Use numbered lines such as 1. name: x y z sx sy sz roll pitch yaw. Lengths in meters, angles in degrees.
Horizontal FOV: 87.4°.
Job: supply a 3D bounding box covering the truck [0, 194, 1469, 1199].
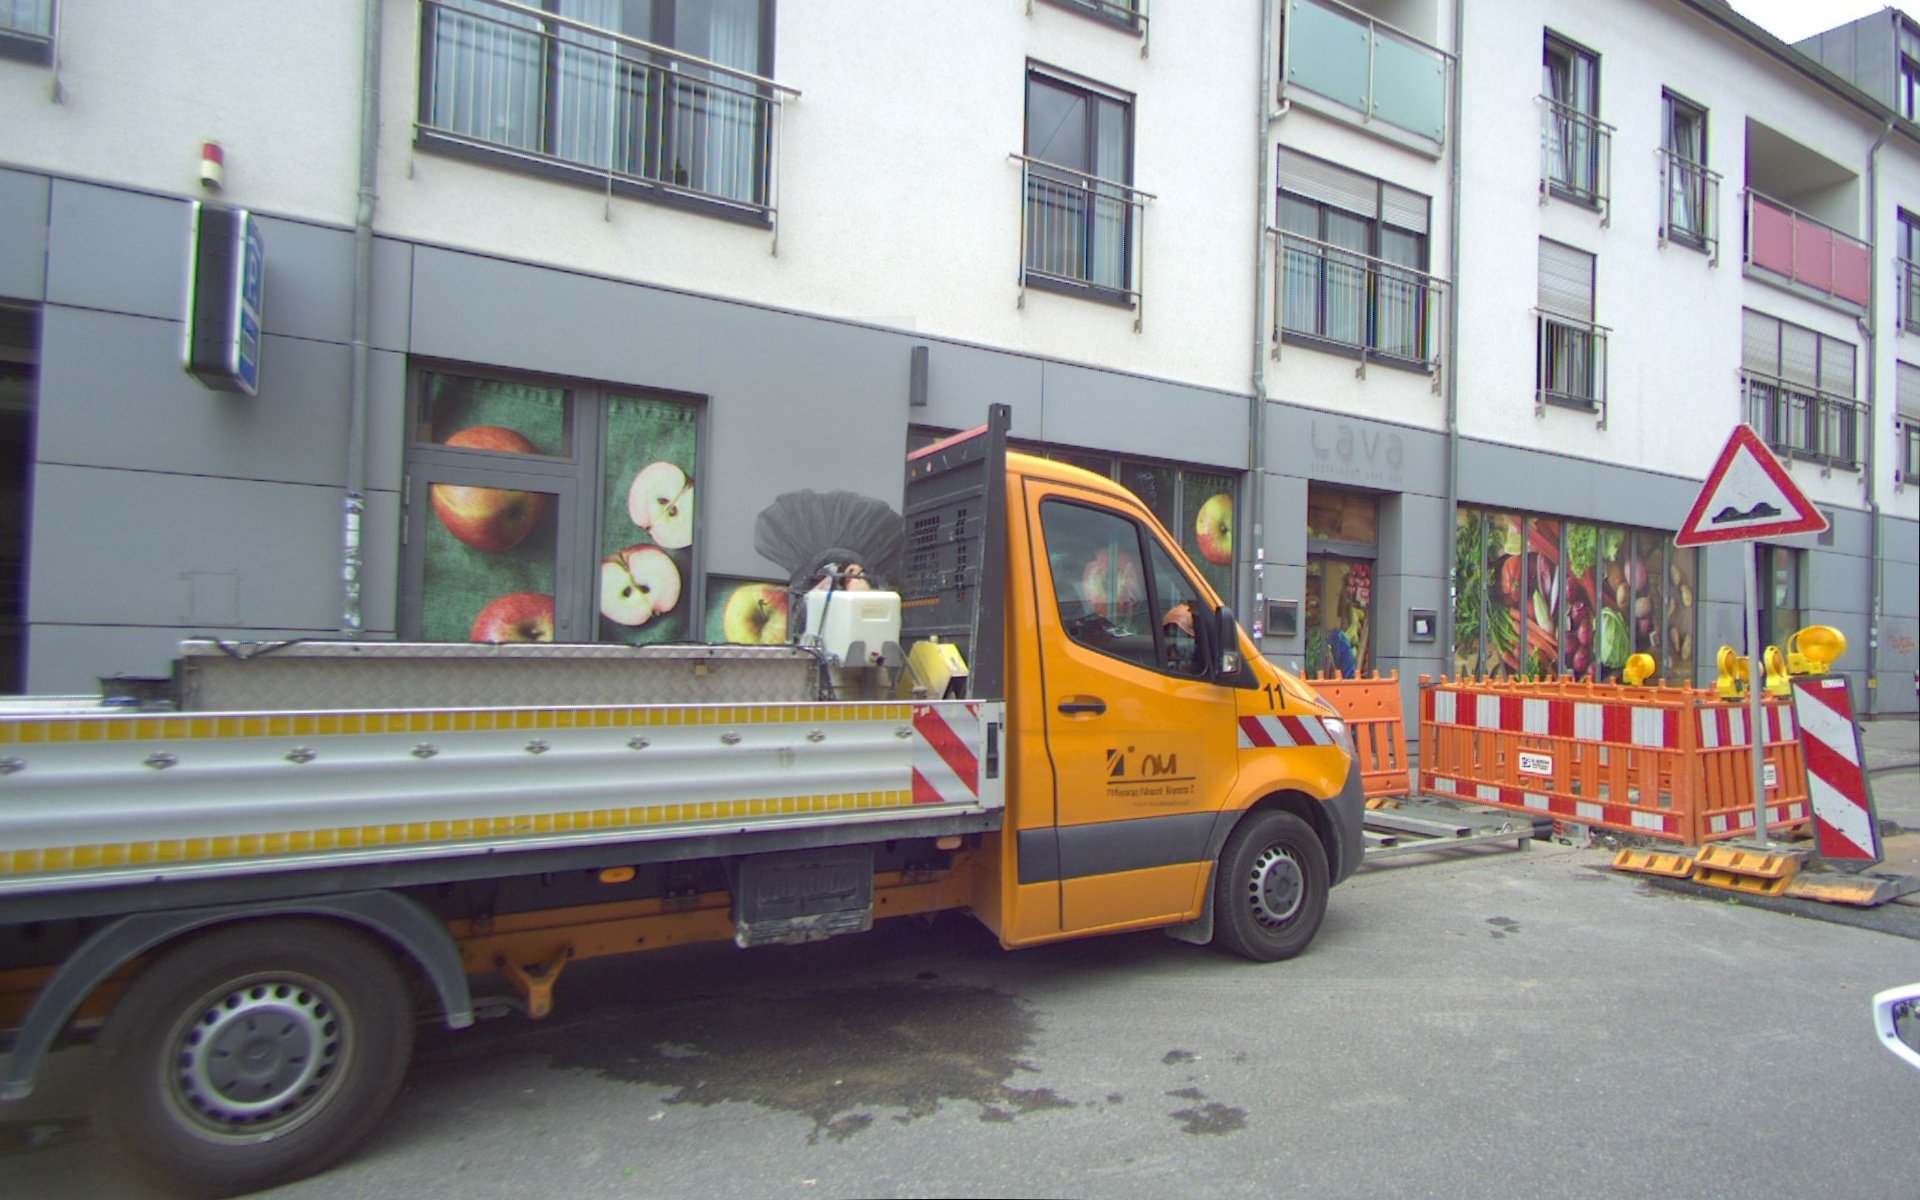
1. truck: -0.769 0.369 4.555 6.230 2.498 2.404 1 -2 -29
